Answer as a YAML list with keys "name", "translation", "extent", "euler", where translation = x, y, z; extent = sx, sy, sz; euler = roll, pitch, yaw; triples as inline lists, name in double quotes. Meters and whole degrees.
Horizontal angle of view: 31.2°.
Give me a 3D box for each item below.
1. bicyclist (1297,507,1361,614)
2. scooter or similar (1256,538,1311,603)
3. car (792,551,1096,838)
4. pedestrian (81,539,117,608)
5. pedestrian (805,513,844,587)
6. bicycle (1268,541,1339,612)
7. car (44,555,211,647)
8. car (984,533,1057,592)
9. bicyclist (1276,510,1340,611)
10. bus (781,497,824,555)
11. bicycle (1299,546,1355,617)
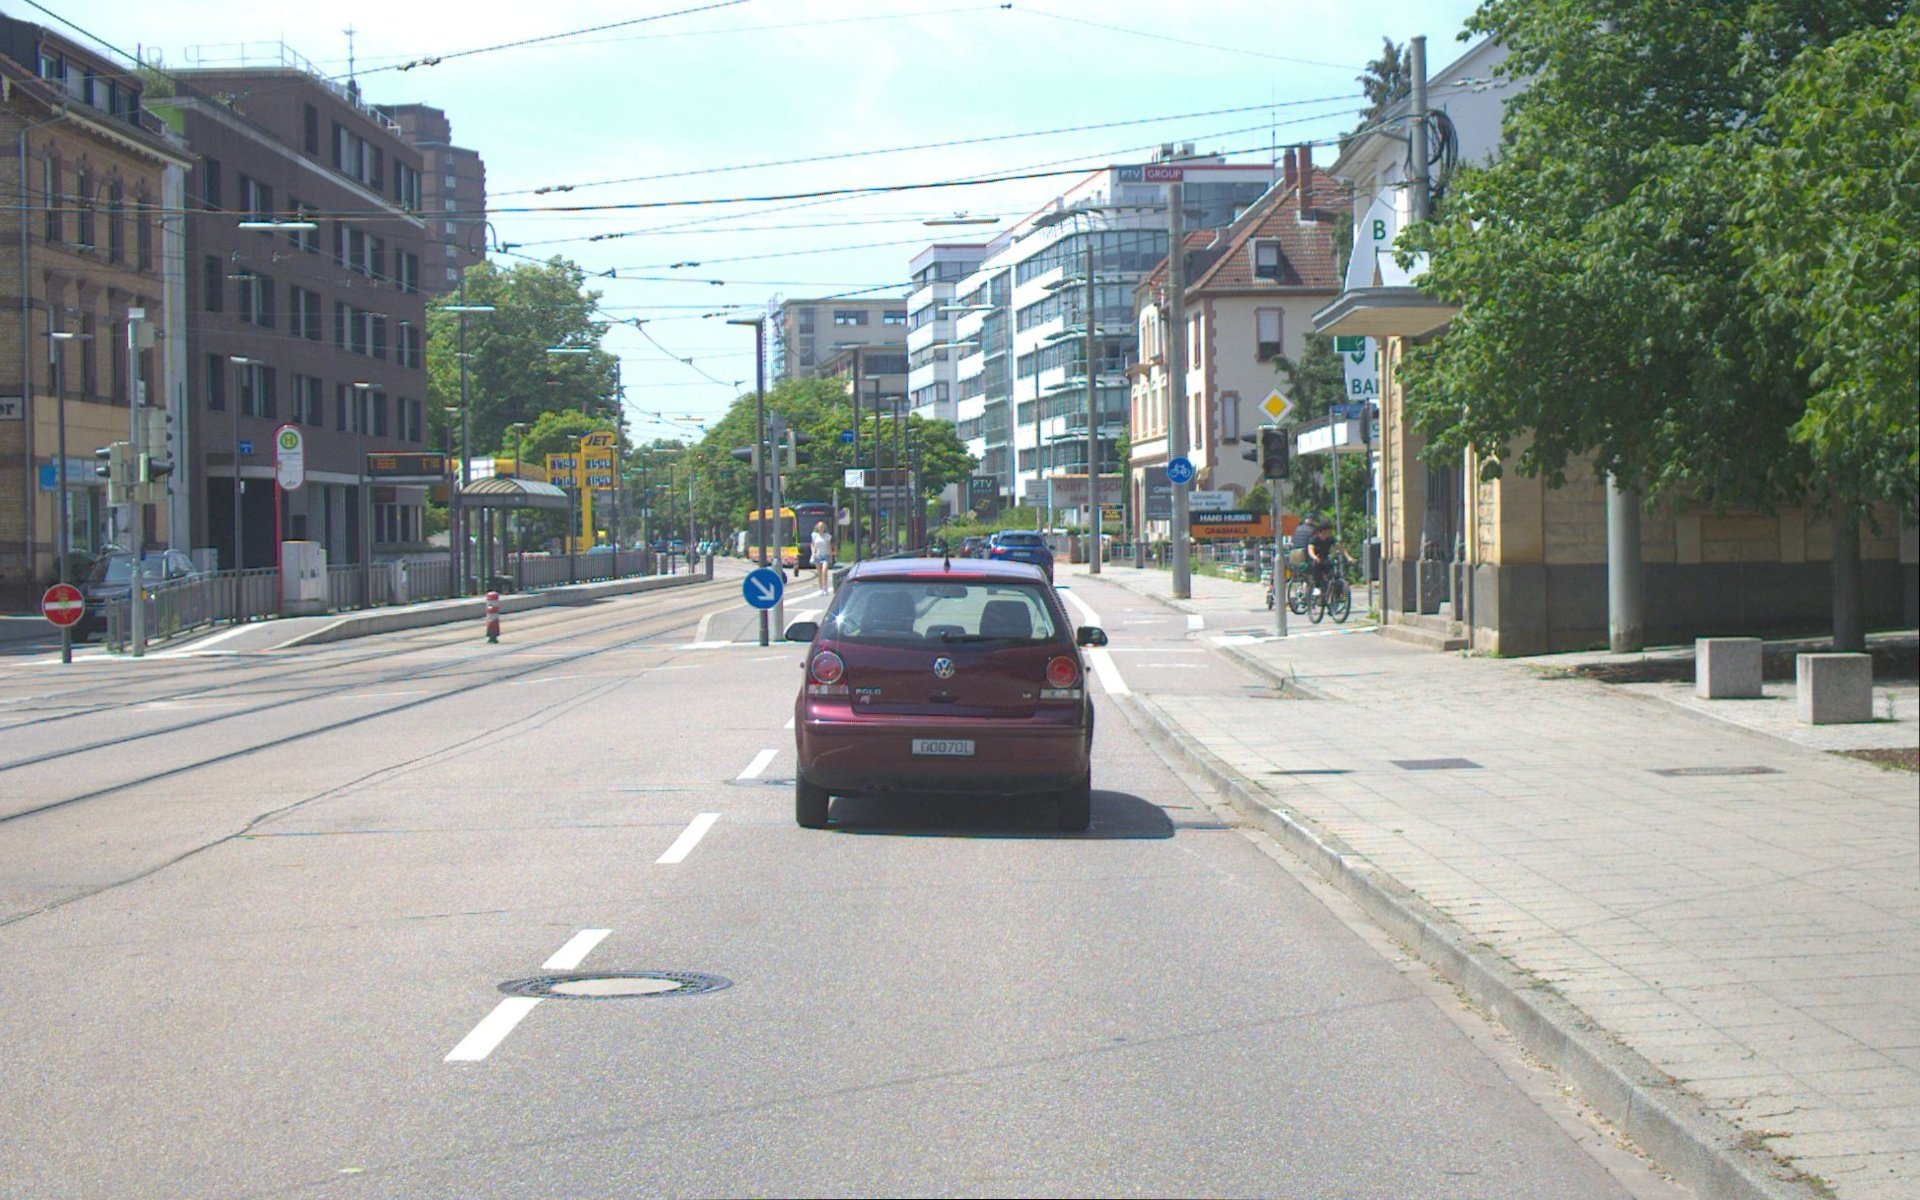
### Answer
- name: "bicyclist"
  translation: [5.867, -0.631, 54.657]
  extent: [0.832, 1.612, 0.860]
  euler: [-4, 2, 2]
- name: "scooter or similar"
  translation: [6.011, -0.550, 63.863]
  extent: [0.339, 1.174, 1.468]
  euler: [-1, 1, -23]
- name: "car"
  translation: [-0.081, 0.472, 19.477]
  extent: [1.561, 1.448, 3.062]
  euler: [-1, 1, 0]
- name: "pedestrian"
  translation: [-19.798, -0.616, 79.065]
  extent: [0.614, 1.555, 0.640]
  euler: [-1, 1, 0]
- name: "pedestrian"
  translation: [-3.091, -1.152, 78.524]
  extent: [0.763, 1.669, 1.100]
  euler: [-1, 1, 2]
- name: "bicycle"
  translation: [6.062, -0.430, 60.604]
  extent: [0.376, 1.193, 1.902]
  euler: [0, 2, 33]
- name: "car"
  translation: [-15.567, -0.015, 64.506]
  extent: [1.794, 1.574, 4.494]
  euler: [-1, 1, 3]
- name: "car"
  translation: [1.733, -1.114, 100.075]
  extent: [1.993, 1.619, 4.632]
  euler: [-1, 1, 0]
- name: "bicyclist"
  translation: [6.154, -0.704, 60.748]
  extent: [0.729, 1.754, 0.922]
  euler: [0, 2, 35]
- name: "bus"
  translation: [-8.423, -3.968, 183.872]
  extent: [2.144, 2.992, 6.574]
  euler: [-1, 1, -2]
- name: "bicycle"
  translation: [5.830, -0.308, 54.613]
  extent: [0.668, 0.999, 1.864]
  euler: [-4, 3, 2]
